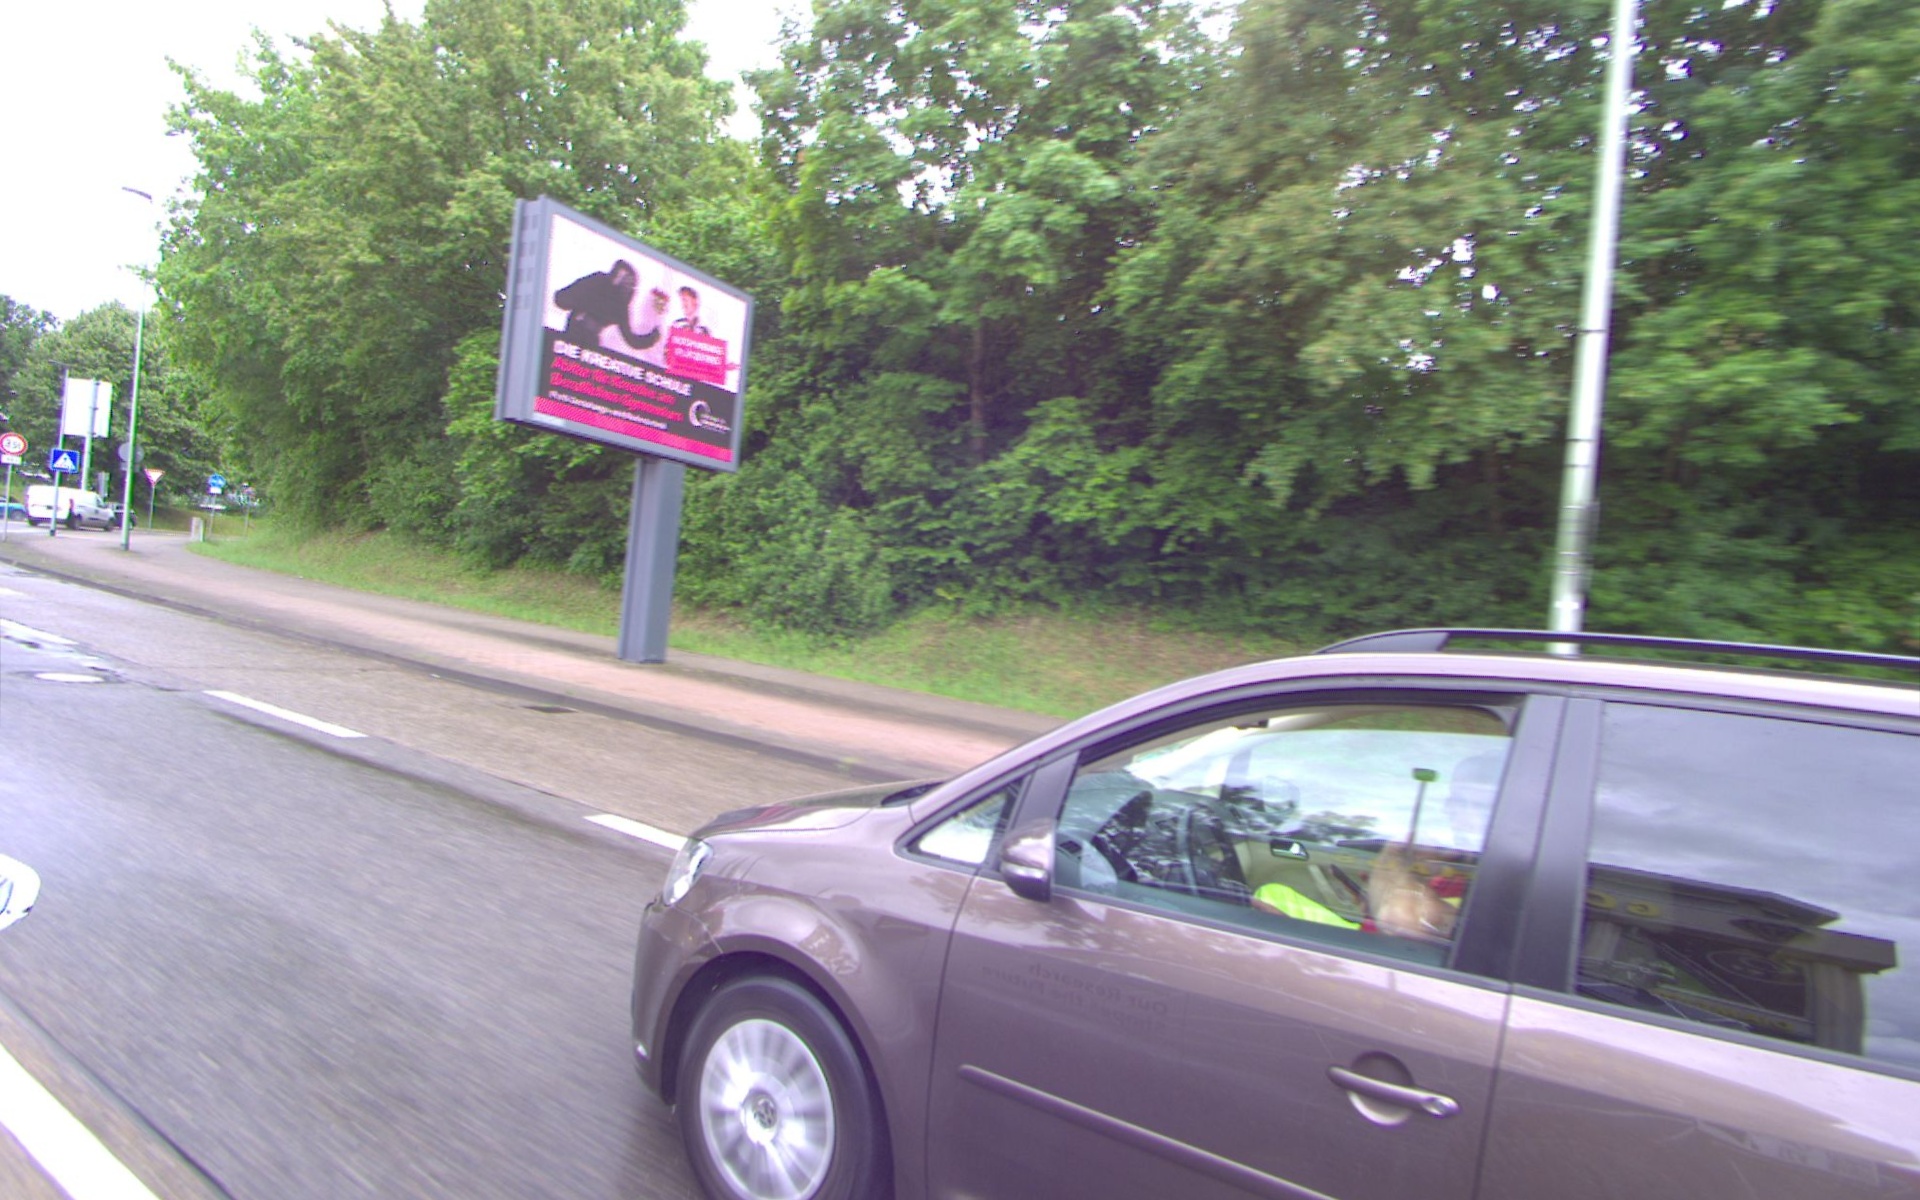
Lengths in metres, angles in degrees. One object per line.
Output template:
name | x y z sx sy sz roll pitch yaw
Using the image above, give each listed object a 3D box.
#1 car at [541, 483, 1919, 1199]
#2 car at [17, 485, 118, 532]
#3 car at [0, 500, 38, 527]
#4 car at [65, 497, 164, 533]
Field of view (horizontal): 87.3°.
car | 1.161 0.799 2.356 4.060 1.616 1.717 8 0 30
car | -41.042 -4.157 46.368 1.792 1.730 3.931 7 1 -15
car | -53.483 -4.890 55.229 1.578 1.311 3.999 7 2 13
car | -48.817 -4.876 58.184 1.865 1.485 4.330 6 0 2
